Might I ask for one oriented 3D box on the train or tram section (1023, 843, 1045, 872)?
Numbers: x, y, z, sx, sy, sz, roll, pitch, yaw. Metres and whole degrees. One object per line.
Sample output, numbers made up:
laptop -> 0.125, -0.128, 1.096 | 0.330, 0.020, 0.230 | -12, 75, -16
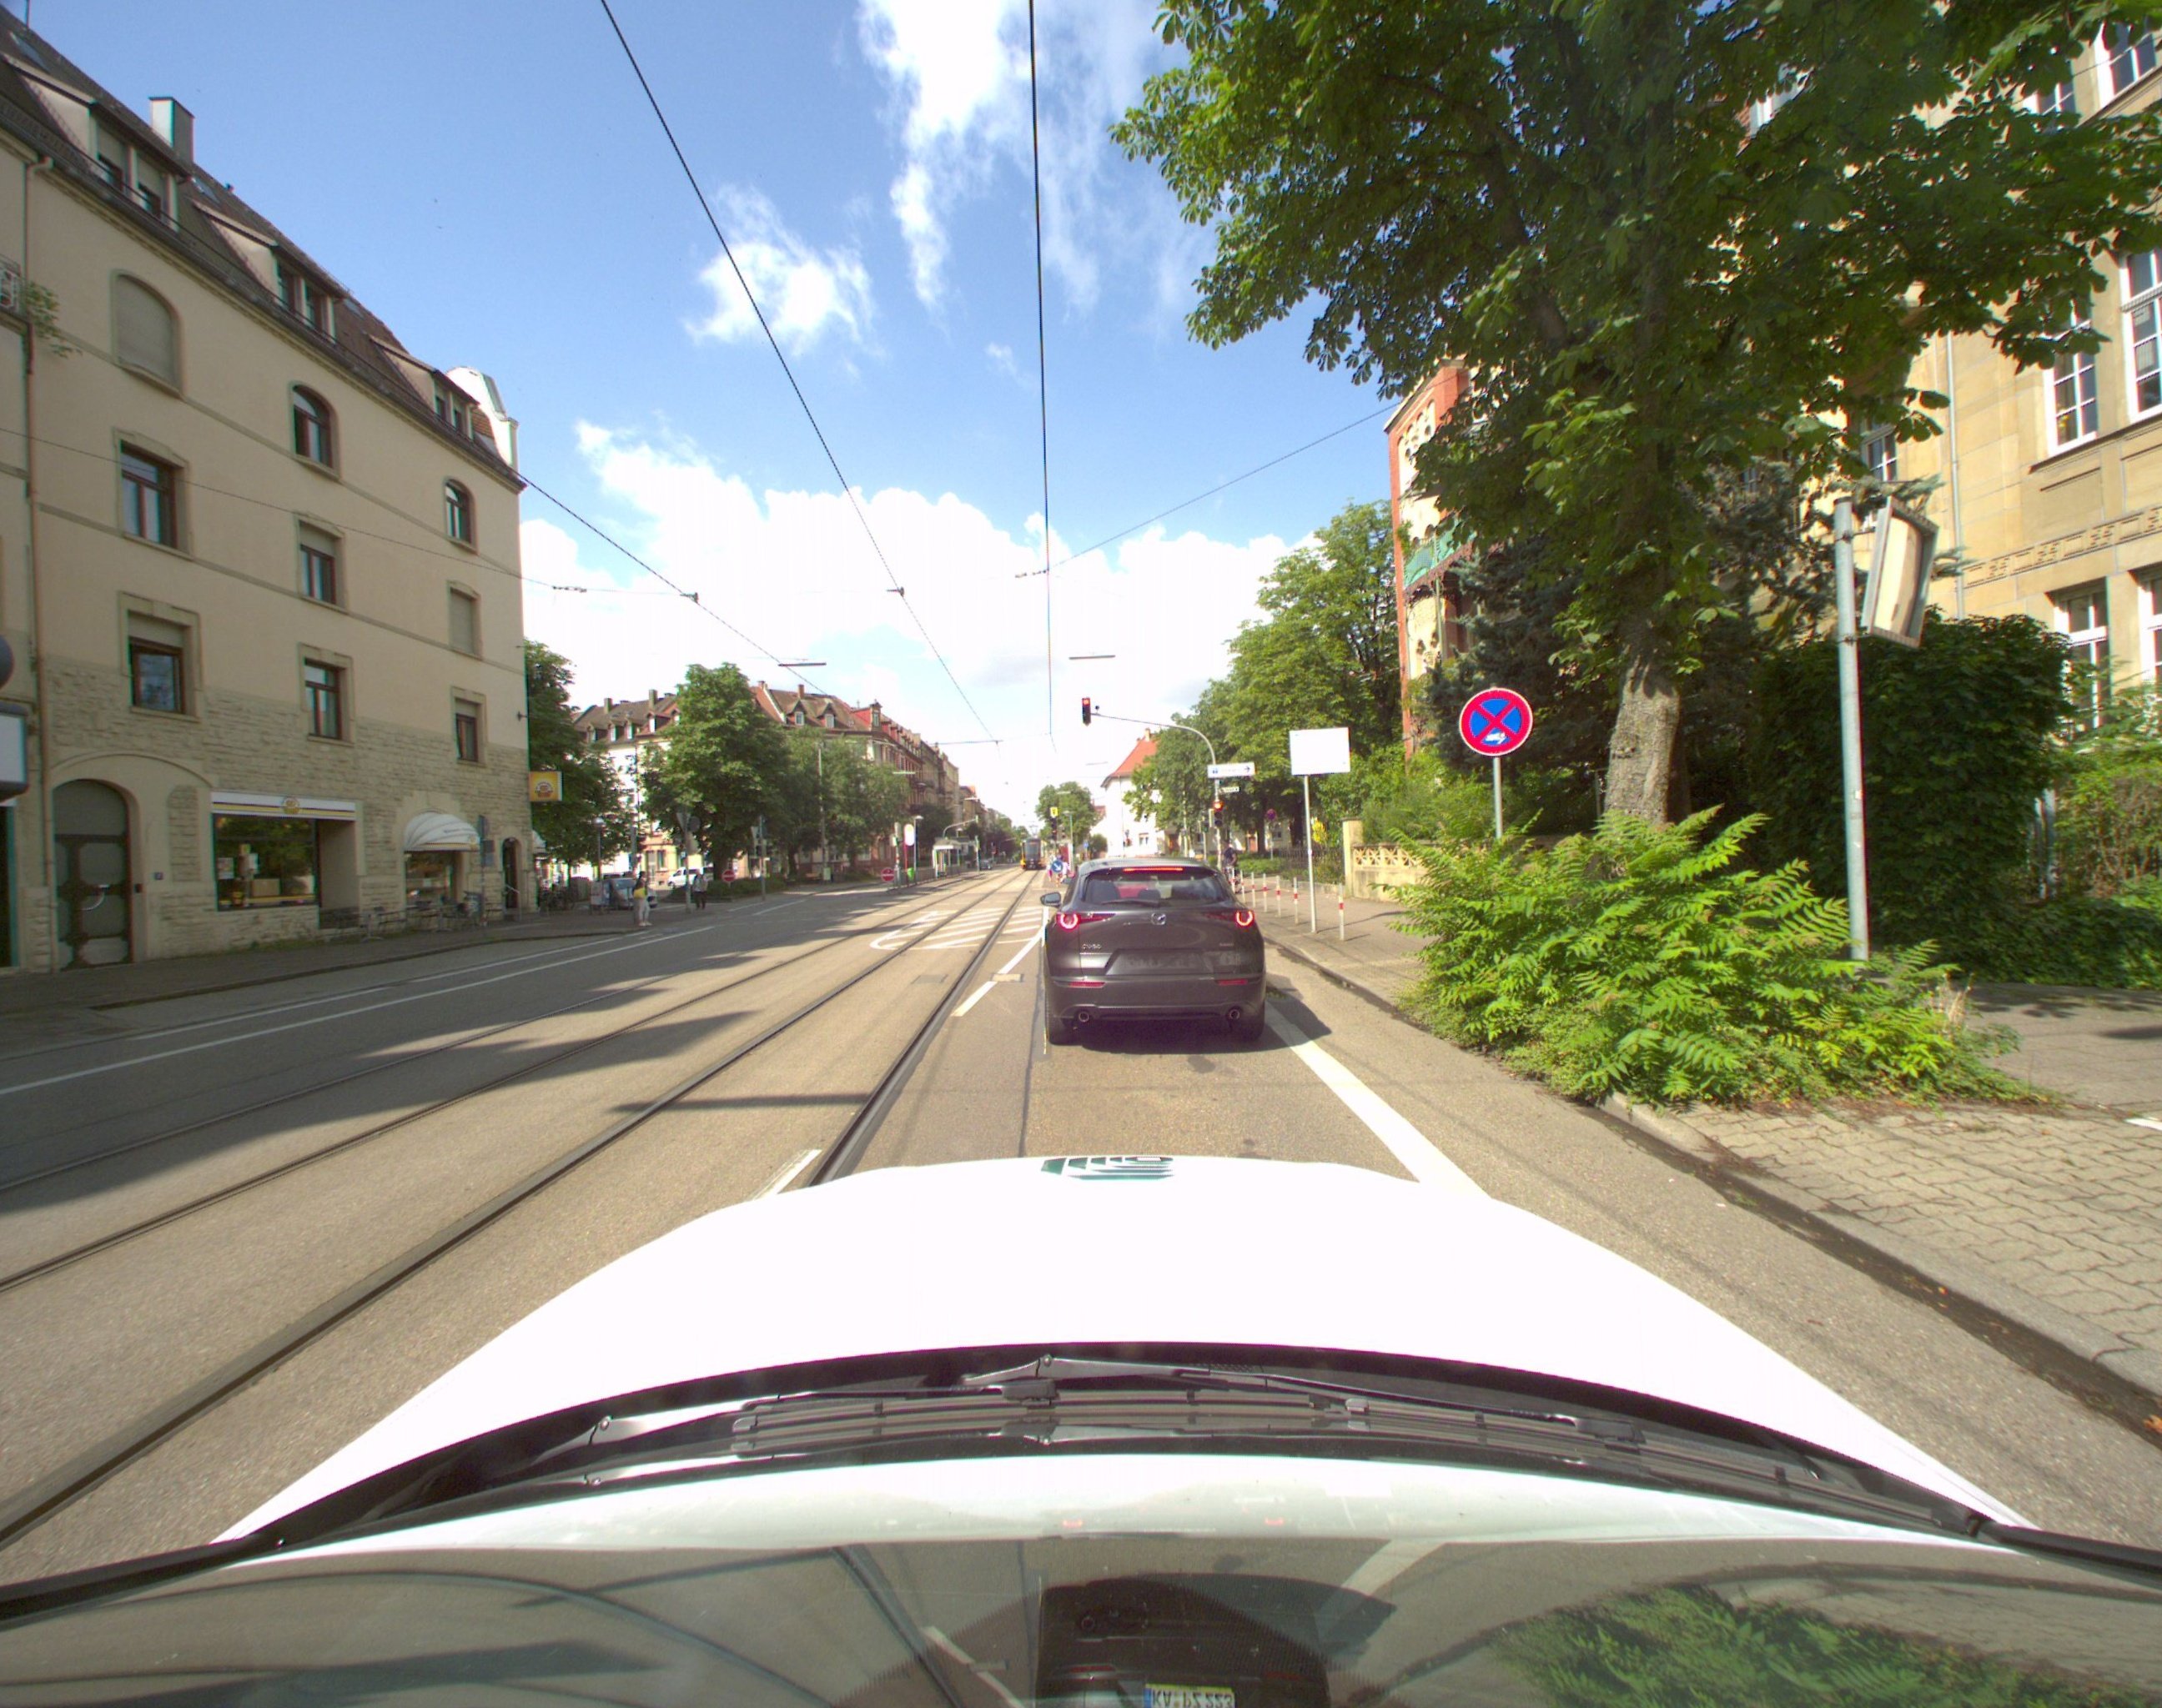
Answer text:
train or tram section -> -6.958, 0.635, 121.258 | 2.991, 3.983, 13.792 | -3, -1, -3

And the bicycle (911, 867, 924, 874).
bicycle -> -19.058, 1.884, 94.911 | 0.381, 0.747, 1.722 | -3, 0, 34

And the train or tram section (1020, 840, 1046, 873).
train or tram section -> -6.248, 0.436, 107.511 | 2.991, 3.983, 13.792 | -3, -1, -3

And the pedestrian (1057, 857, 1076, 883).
pedestrian -> -0.758, 0.816, 41.944 | 0.716, 1.303, 0.823 | -5, 0, -16

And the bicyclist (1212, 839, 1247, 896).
bicyclist -> 4.894, 0.433, 26.876 | 0.736, 1.819, 0.814 | -3, 0, -25

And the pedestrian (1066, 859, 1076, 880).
pedestrian -> -0.552, 0.819, 44.293 | 0.441, 1.114, 0.642 | -3, 0, -4

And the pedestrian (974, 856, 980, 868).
pedestrian -> -15.586, 1.210, 121.924 | 0.785, 1.688, 0.732 | -3, 0, -1

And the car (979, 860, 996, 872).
car -> -11.737, 1.478, 102.370 | 1.620, 1.387, 3.435 | -4, 0, -1

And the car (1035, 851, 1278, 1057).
car -> 0.632, 0.752, 8.015 | 1.775, 1.514, 4.002 | 0, 0, 2

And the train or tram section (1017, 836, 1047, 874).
train or tram section -> -5.587, 0.241, 93.697 | 2.991, 3.983, 13.792 | -3, -1, -3

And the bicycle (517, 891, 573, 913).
bicycle -> -24.350, 2.190, 37.019 | 0.516, 0.882, 2.043 | -3, -2, 44

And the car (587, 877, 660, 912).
car -> -21.210, 1.865, 37.716 | 3.824, 1.420, 1.732 | -3, 0, 41

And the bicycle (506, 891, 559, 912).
bicycle -> -26.140, 2.266, 38.840 | 0.505, 0.882, 2.043 | -3, -2, 44

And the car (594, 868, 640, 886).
car -> -46.500, 2.312, 81.592 | 3.895, 1.663, 1.926 | -3, 0, 20

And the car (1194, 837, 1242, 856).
car -> 13.190, -0.710, 78.506 | 4.118, 1.509, 1.864 | -3, 1, 40

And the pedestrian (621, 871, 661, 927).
pedestrian -> -13.785, 1.391, 25.547 | 0.754, 1.704, 0.873 | 2, 0, -3

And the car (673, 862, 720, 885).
car -> -37.099, 1.869, 78.593 | 3.901, 1.988, 1.866 | -2, 0, 21

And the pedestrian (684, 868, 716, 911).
pedestrian -> -15.763, 1.456, 33.697 | 0.852, 1.672, 0.822 | -3, 0, -1

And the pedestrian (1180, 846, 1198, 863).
pedestrian -> 8.719, 0.073, 65.758 | 1.191, 1.269, 0.556 | -5, 0, -7

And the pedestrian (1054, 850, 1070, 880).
pedestrian -> -1.022, 0.584, 43.583 | 0.727, 1.565, 0.797 | -3, 0, -7

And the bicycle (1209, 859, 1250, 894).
bicycle -> 4.938, 0.723, 26.990 | 0.385, 1.035, 1.857 | -3, 0, 42

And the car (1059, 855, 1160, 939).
car -> 0.495, 0.777, 16.500 | 1.770, 1.464, 3.841 | -1, 0, -1

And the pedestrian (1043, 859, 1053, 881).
pedestrian -> -1.771, 0.865, 43.800 | 0.421, 1.108, 0.438 | -5, 0, -7
